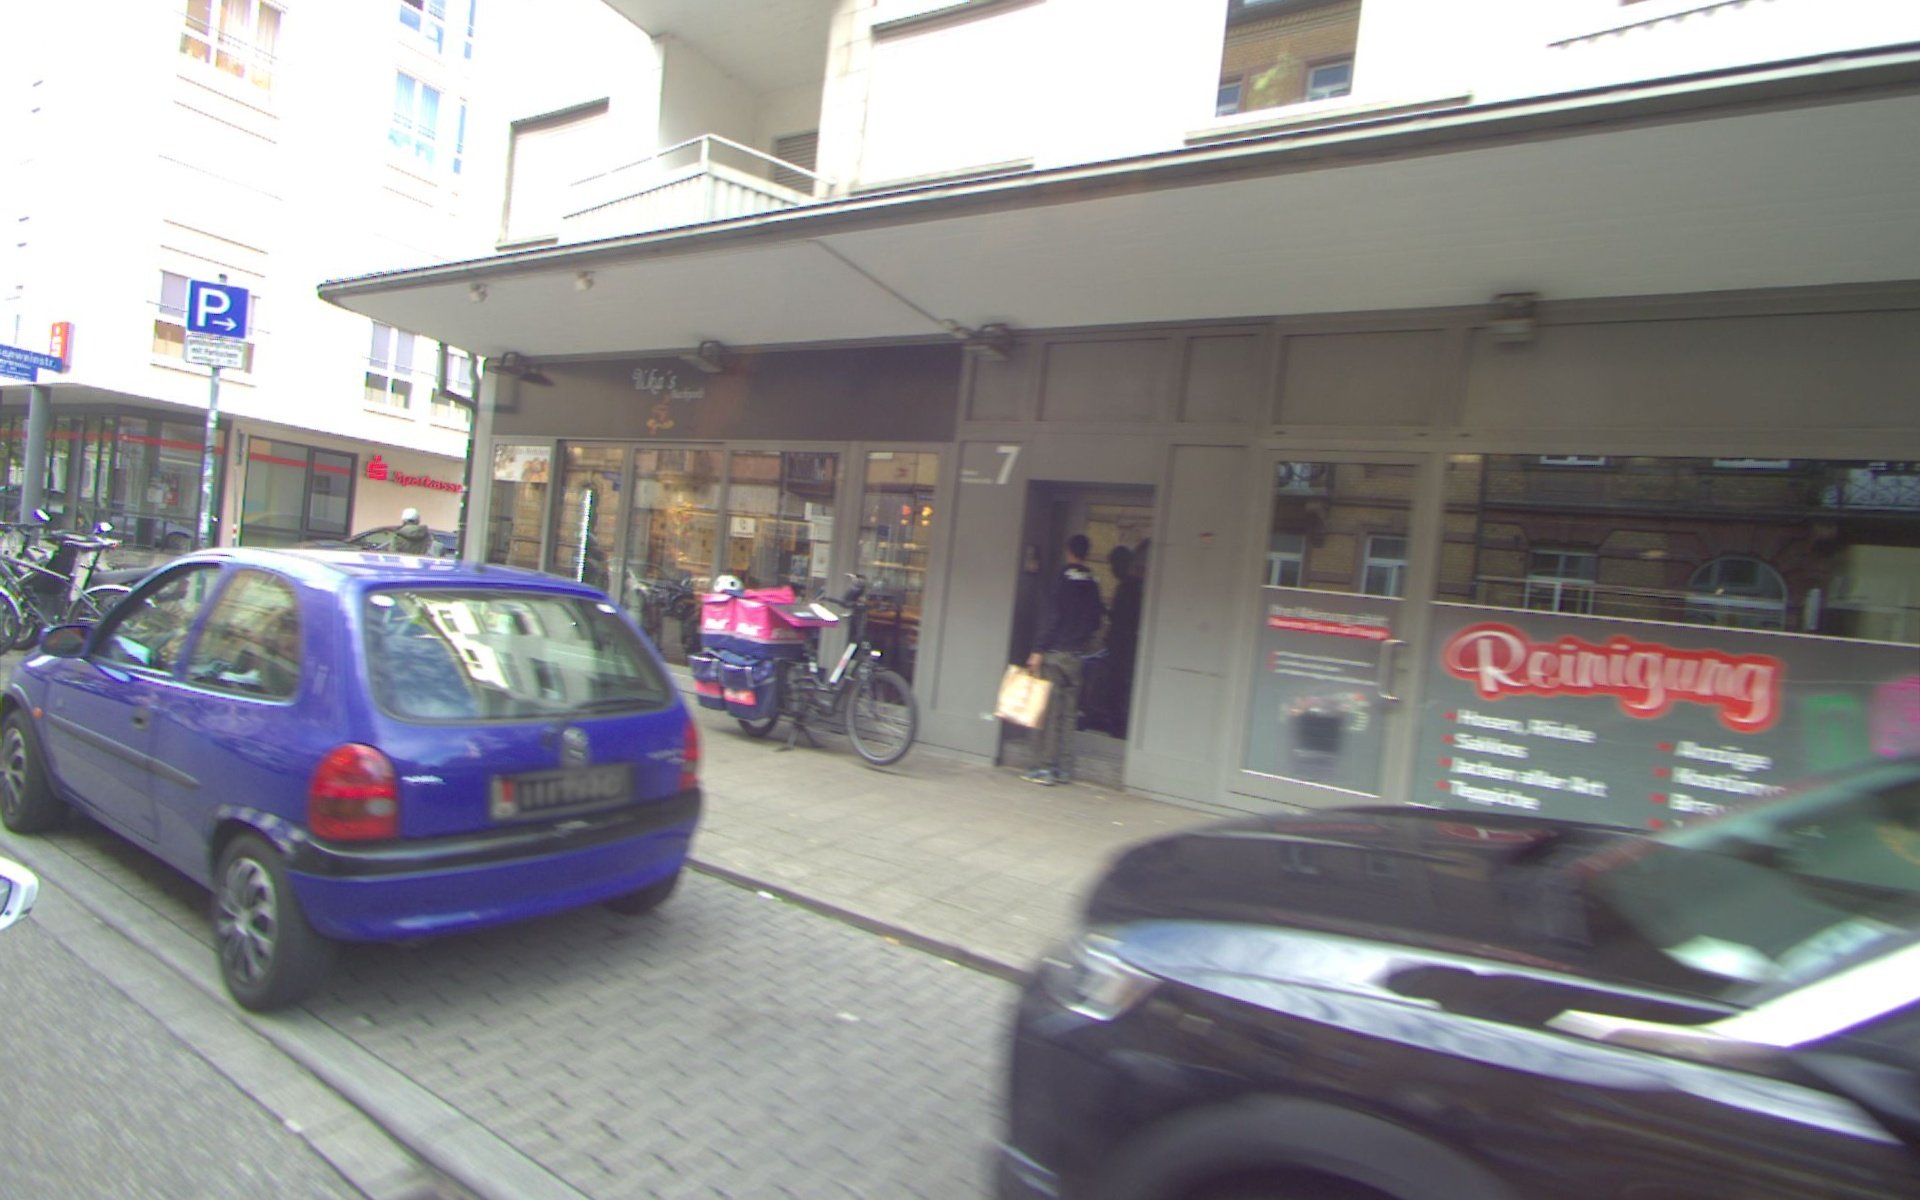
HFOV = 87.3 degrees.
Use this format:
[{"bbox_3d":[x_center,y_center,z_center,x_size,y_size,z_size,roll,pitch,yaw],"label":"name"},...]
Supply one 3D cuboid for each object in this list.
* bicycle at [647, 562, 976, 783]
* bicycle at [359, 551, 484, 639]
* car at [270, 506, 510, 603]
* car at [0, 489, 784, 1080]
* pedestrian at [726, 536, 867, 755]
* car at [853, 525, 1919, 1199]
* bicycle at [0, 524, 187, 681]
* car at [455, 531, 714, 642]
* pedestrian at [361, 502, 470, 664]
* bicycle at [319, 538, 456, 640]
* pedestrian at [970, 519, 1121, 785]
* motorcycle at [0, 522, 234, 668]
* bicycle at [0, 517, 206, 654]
[{"bbox_3d":[-1.208,0.480,7.836,2.458,1.308,0.918,7,3,33],"label":"bicycle"},{"bbox_3d":[-7.678,-0.077,14.313,1.893,1.078,0.446,6,1,25],"label":"bicycle"},{"bbox_3d":[-12.965,-0.982,23.156,1.778,1.651,4.363,9,2,33],"label":"car"},{"bbox_3d":[-2.845,0.410,4.471,3.965,1.458,1.595,7,2,34],"label":"car"},{"bbox_3d":[-1.309,0.341,8.043,0.768,1.610,0.643,7,4,34],"label":"pedestrian"},{"bbox_3d":[1.901,0.891,1.655,3.837,1.598,1.689,7,2,31],"label":"car"},{"bbox_3d":[-7.326,-0.011,7.950,1.742,1.109,0.681,5,2,-15],"label":"bicycle"},{"bbox_3d":[-6.306,-0.174,17.270,1.768,1.519,3.787,6,0,33],"label":"car"},{"bbox_3d":[-5.791,-0.180,10.683,0.819,1.609,0.773,5,2,-36],"label":"pedestrian"},{"bbox_3d":[-7.871,-0.162,13.819,1.899,1.206,0.535,6,1,24],"label":"bicycle"},{"bbox_3d":[0.631,0.382,7.558,0.701,1.884,0.640,5,2,-29],"label":"pedestrian"},{"bbox_3d":[-7.527,-0.044,8.883,1.639,1.109,0.606,5,2,-15],"label":"motorcycle"},{"bbox_3d":[-8.322,-0.153,9.348,1.932,1.109,0.688,5,1,-15],"label":"bicycle"}]
